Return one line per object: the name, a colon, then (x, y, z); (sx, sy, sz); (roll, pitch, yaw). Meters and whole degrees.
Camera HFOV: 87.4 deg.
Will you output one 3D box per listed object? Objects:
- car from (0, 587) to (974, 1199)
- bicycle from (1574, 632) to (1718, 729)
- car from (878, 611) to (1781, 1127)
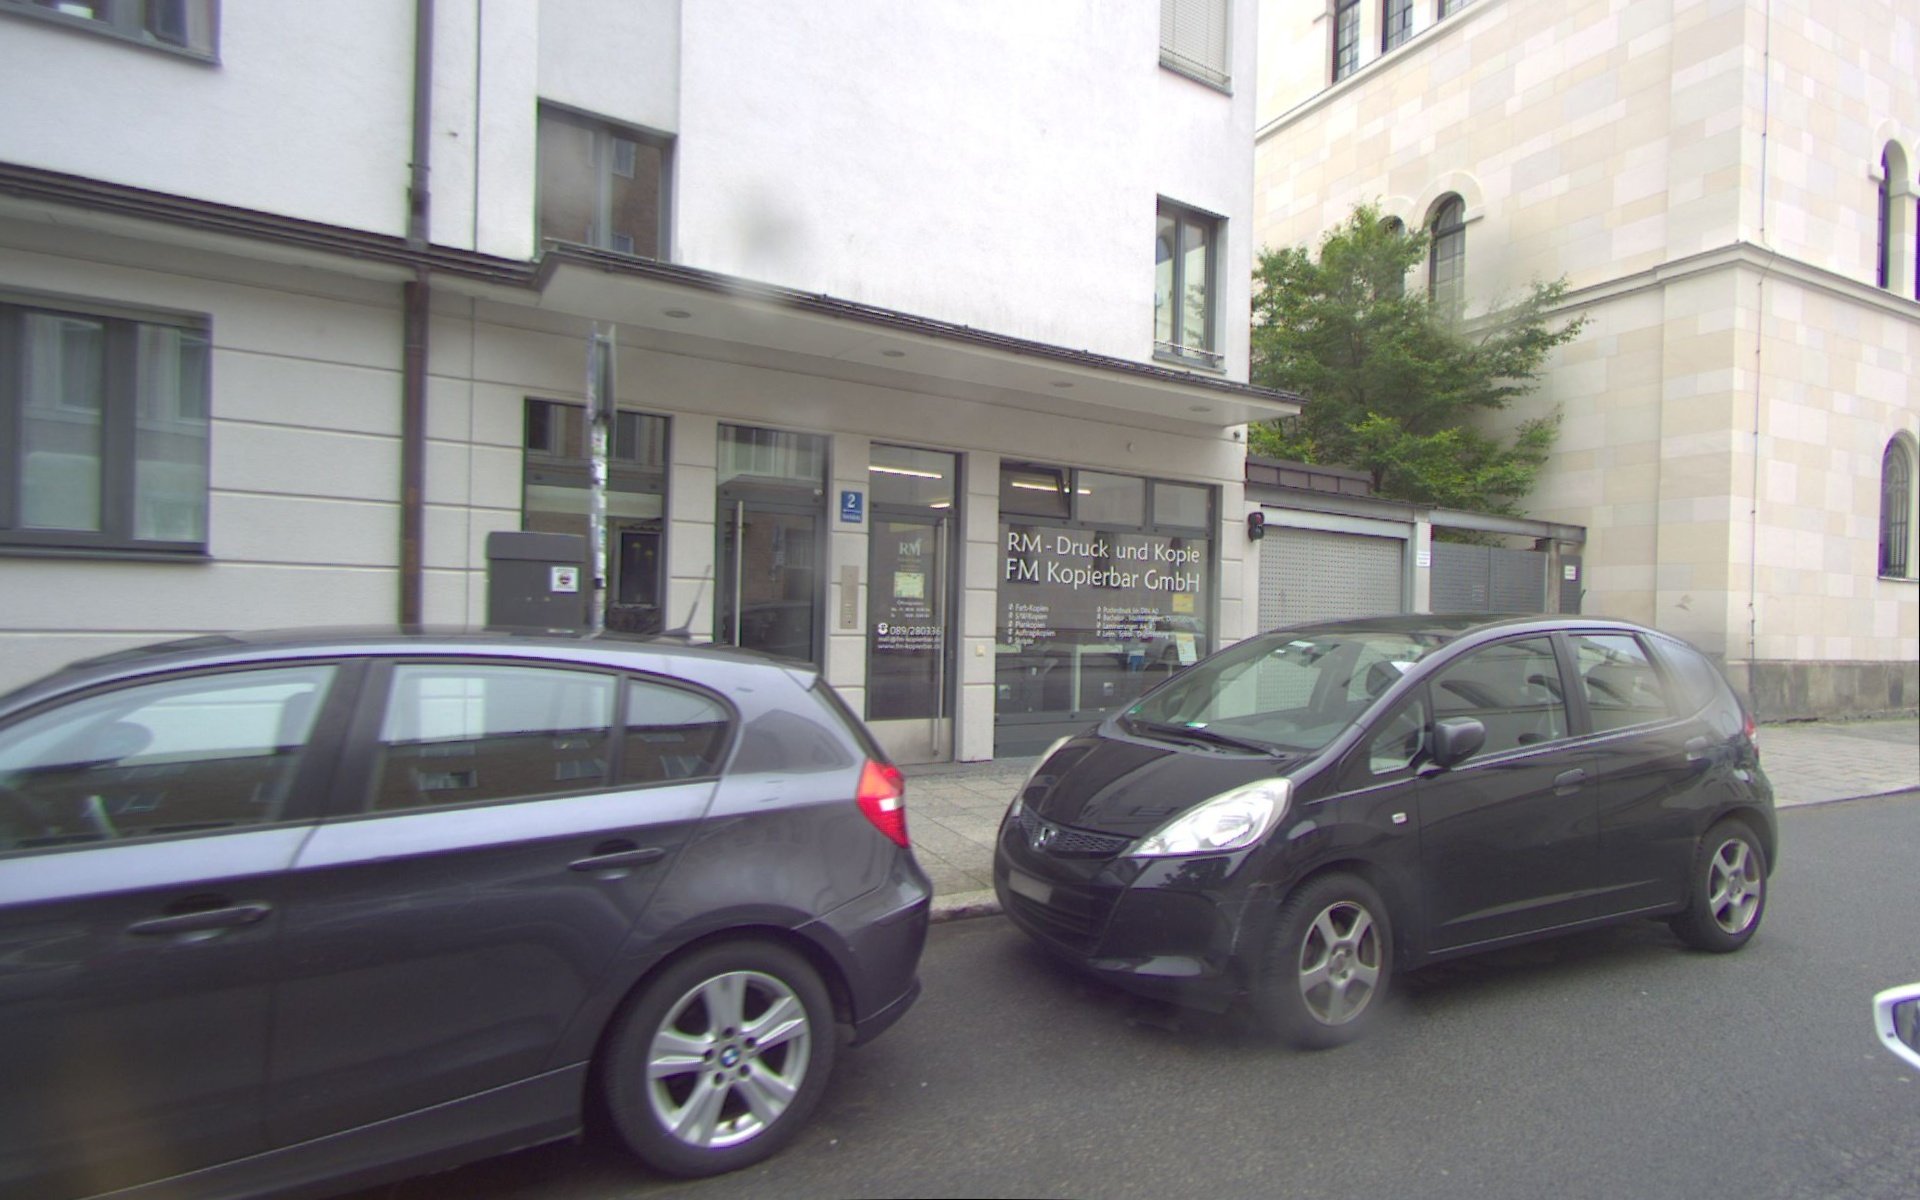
car: (-2.104, 0.732, 2.691); (3.966, 1.473, 1.743); (0, -1, -29)
bicycle: (9.333, 1.061, 13.738); (0.468, 1.193, 1.711); (1, -1, -17)
car: (1.781, 0.803, 4.615); (3.966, 1.473, 1.743); (0, -1, -29)
